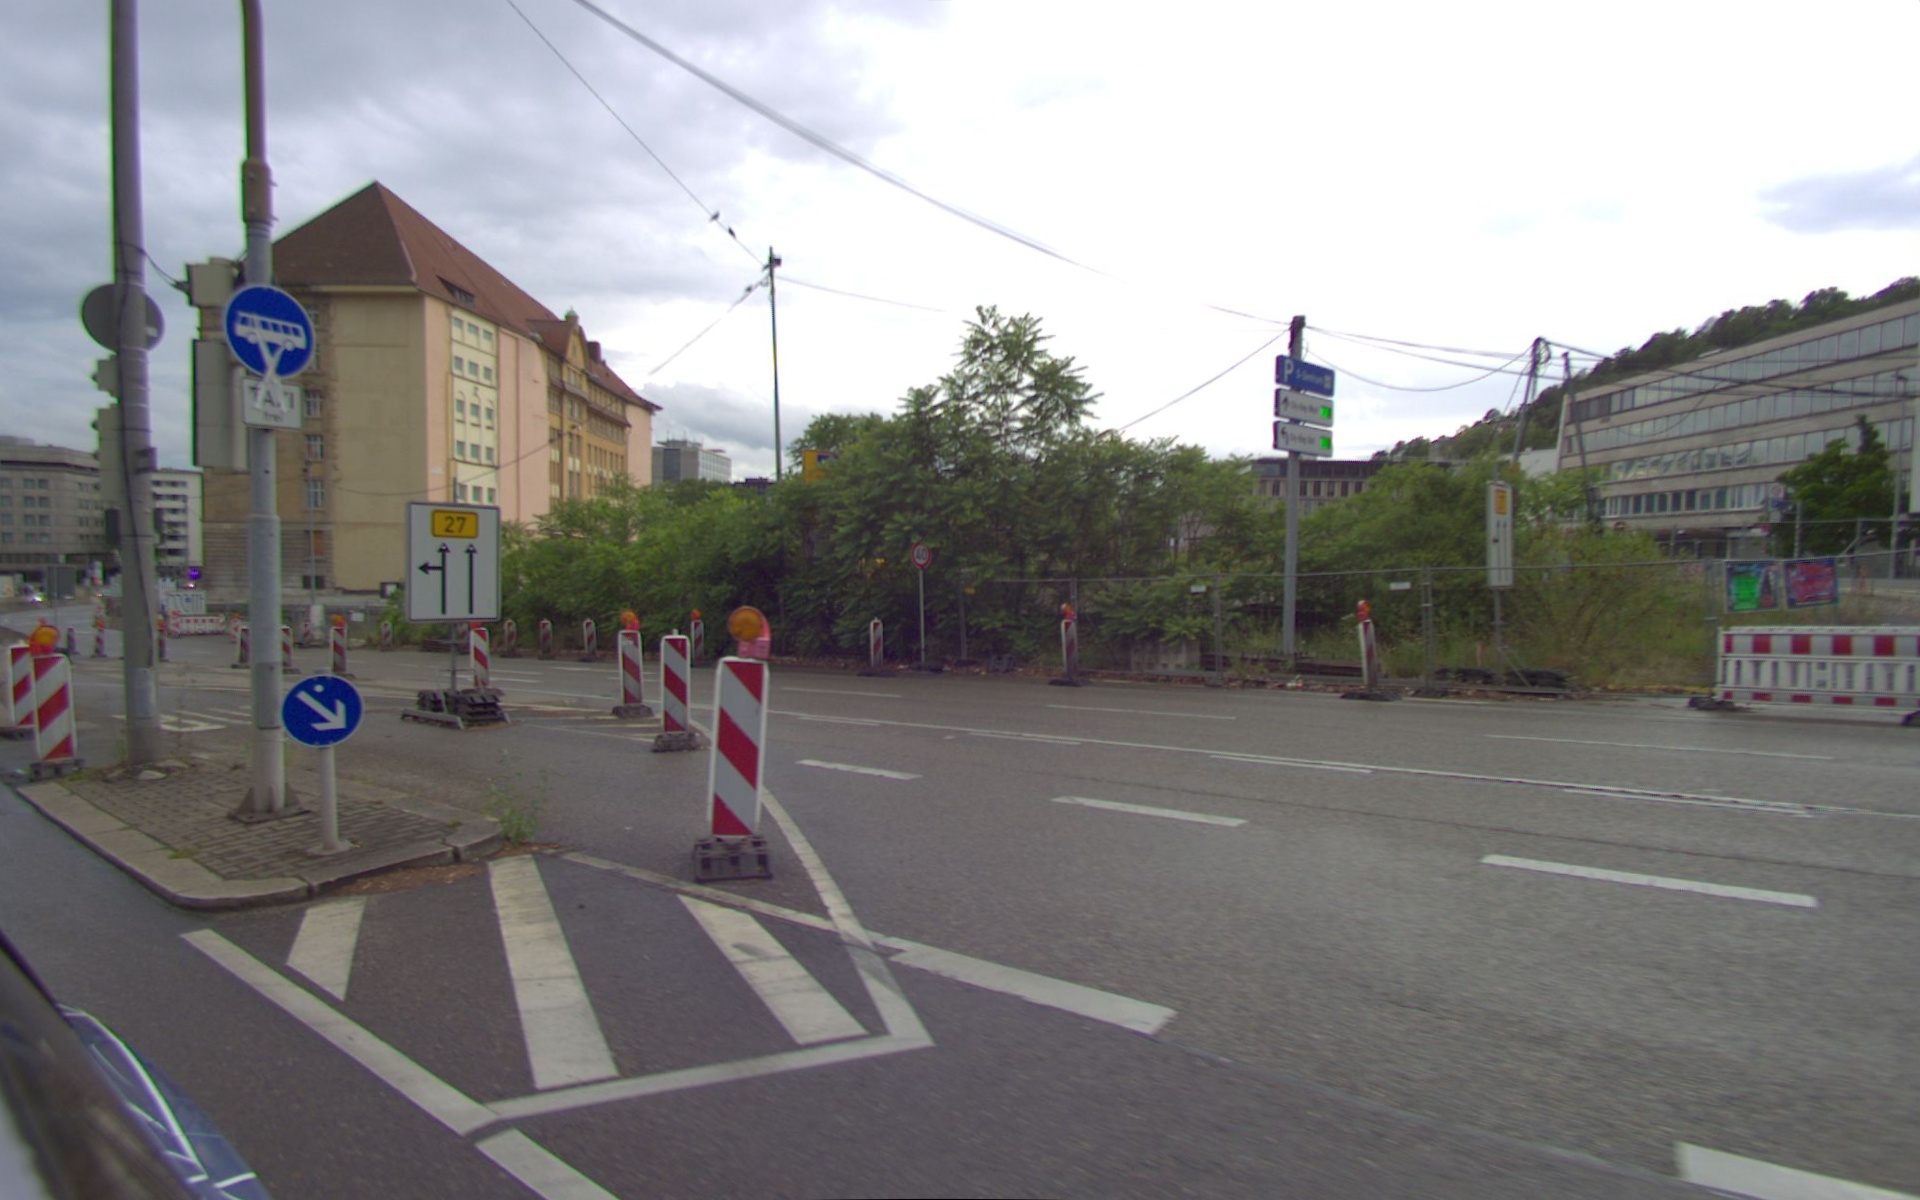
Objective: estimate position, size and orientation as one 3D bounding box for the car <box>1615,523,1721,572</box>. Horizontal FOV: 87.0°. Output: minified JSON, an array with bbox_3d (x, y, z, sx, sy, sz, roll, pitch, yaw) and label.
[{"bbox_3d":[30.119,-2.193,43.199,1.790,1.980,3.997,1,2,3],"label":"car"}]

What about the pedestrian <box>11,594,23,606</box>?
[{"bbox_3d":[-137.499,-0.015,147.580,1.081,1.774,0.909,1,1,-23],"label":"pedestrian"}]

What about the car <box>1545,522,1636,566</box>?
[{"bbox_3d":[30.315,-2.652,48.832,1.974,2.028,3.997,1,2,3],"label":"car"}]

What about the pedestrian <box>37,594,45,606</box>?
[{"bbox_3d":[-136.347,-0.046,150.119,0.745,1.774,0.767,1,1,-38],"label":"pedestrian"}]
